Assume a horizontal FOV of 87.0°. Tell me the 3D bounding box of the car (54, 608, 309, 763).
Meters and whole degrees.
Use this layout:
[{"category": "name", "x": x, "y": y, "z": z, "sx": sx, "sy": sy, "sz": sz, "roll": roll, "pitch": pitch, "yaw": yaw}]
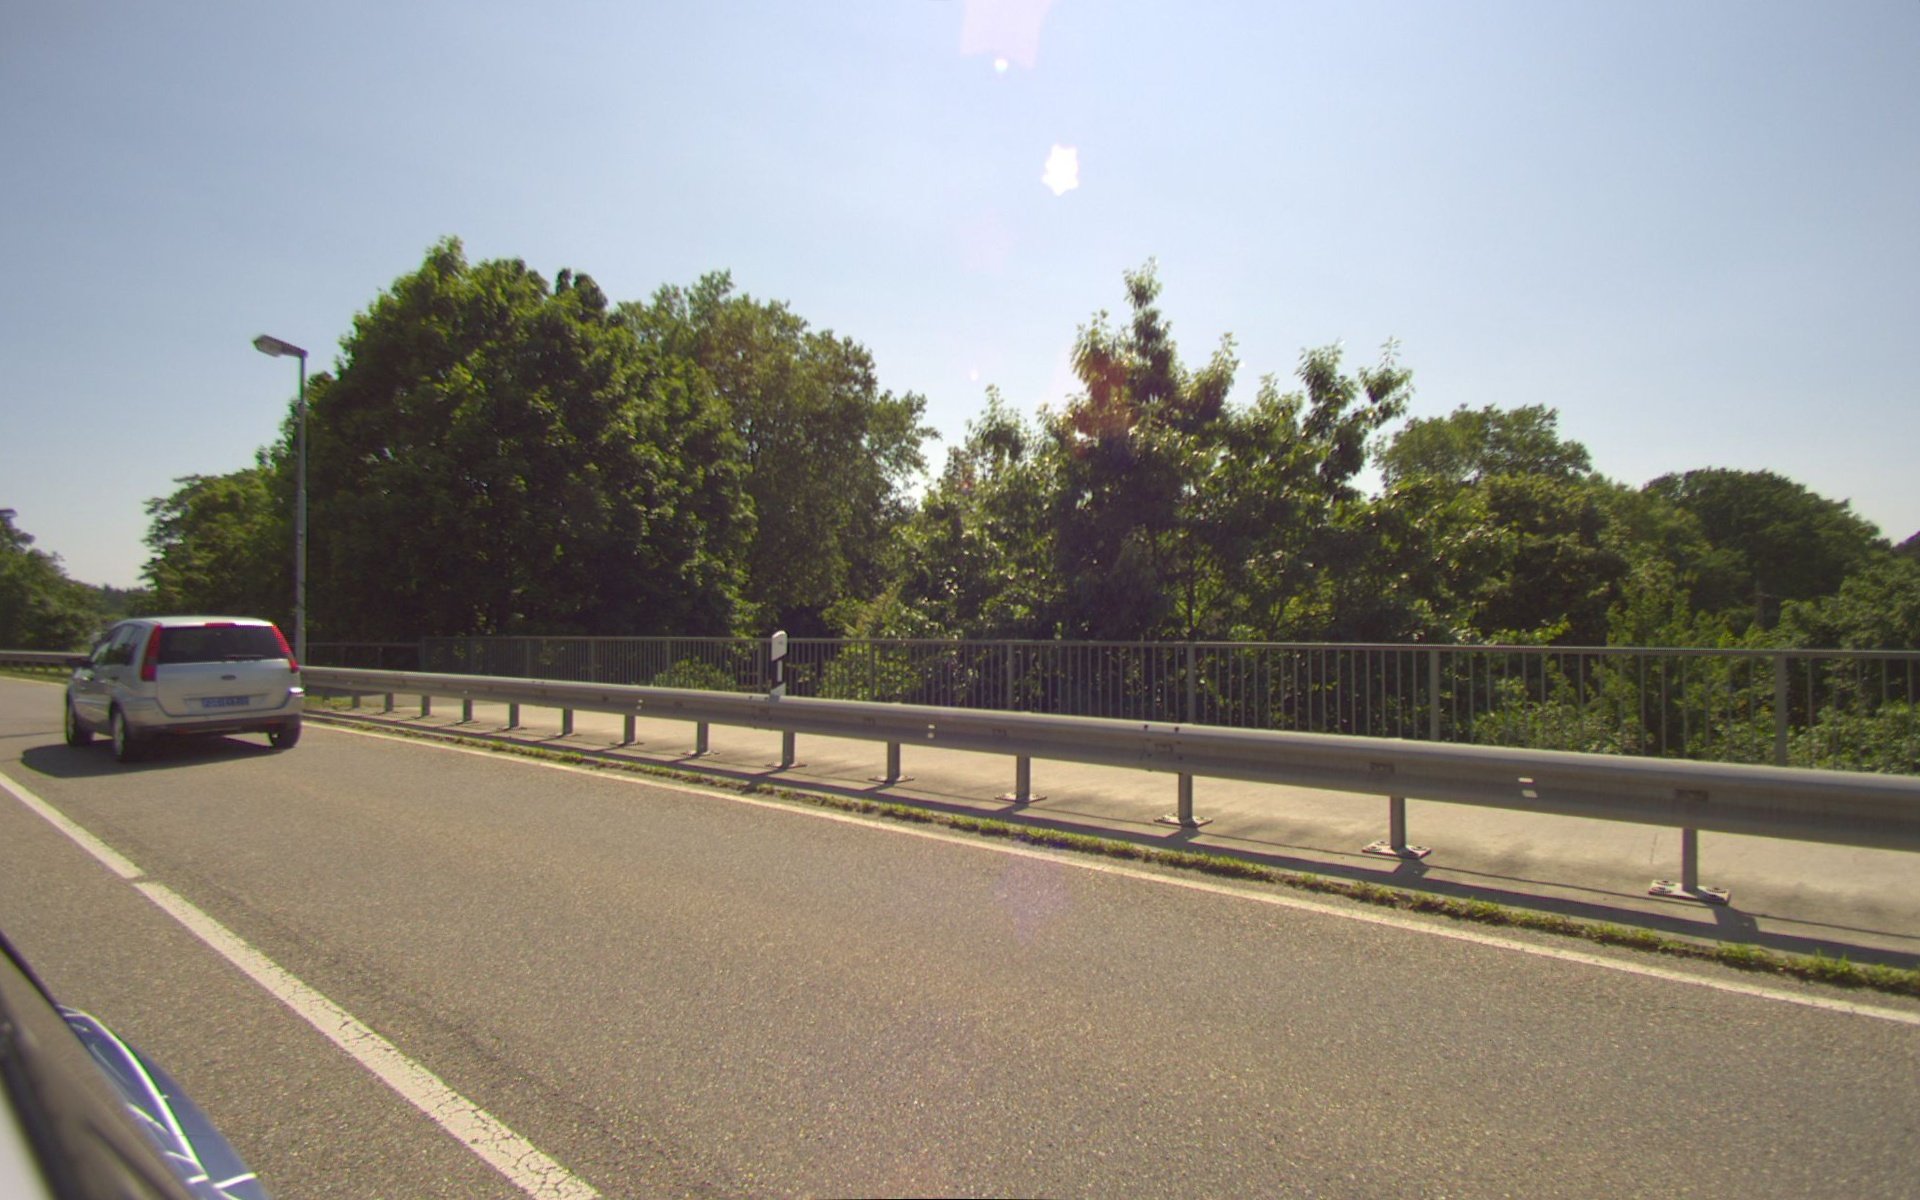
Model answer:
[{"category": "car", "x": -9.161, "y": 0.896, "z": 11.817, "sx": 3.663, "sy": 1.528, "sz": 1.650, "roll": -2, "pitch": -1, "yaw": 40}]
